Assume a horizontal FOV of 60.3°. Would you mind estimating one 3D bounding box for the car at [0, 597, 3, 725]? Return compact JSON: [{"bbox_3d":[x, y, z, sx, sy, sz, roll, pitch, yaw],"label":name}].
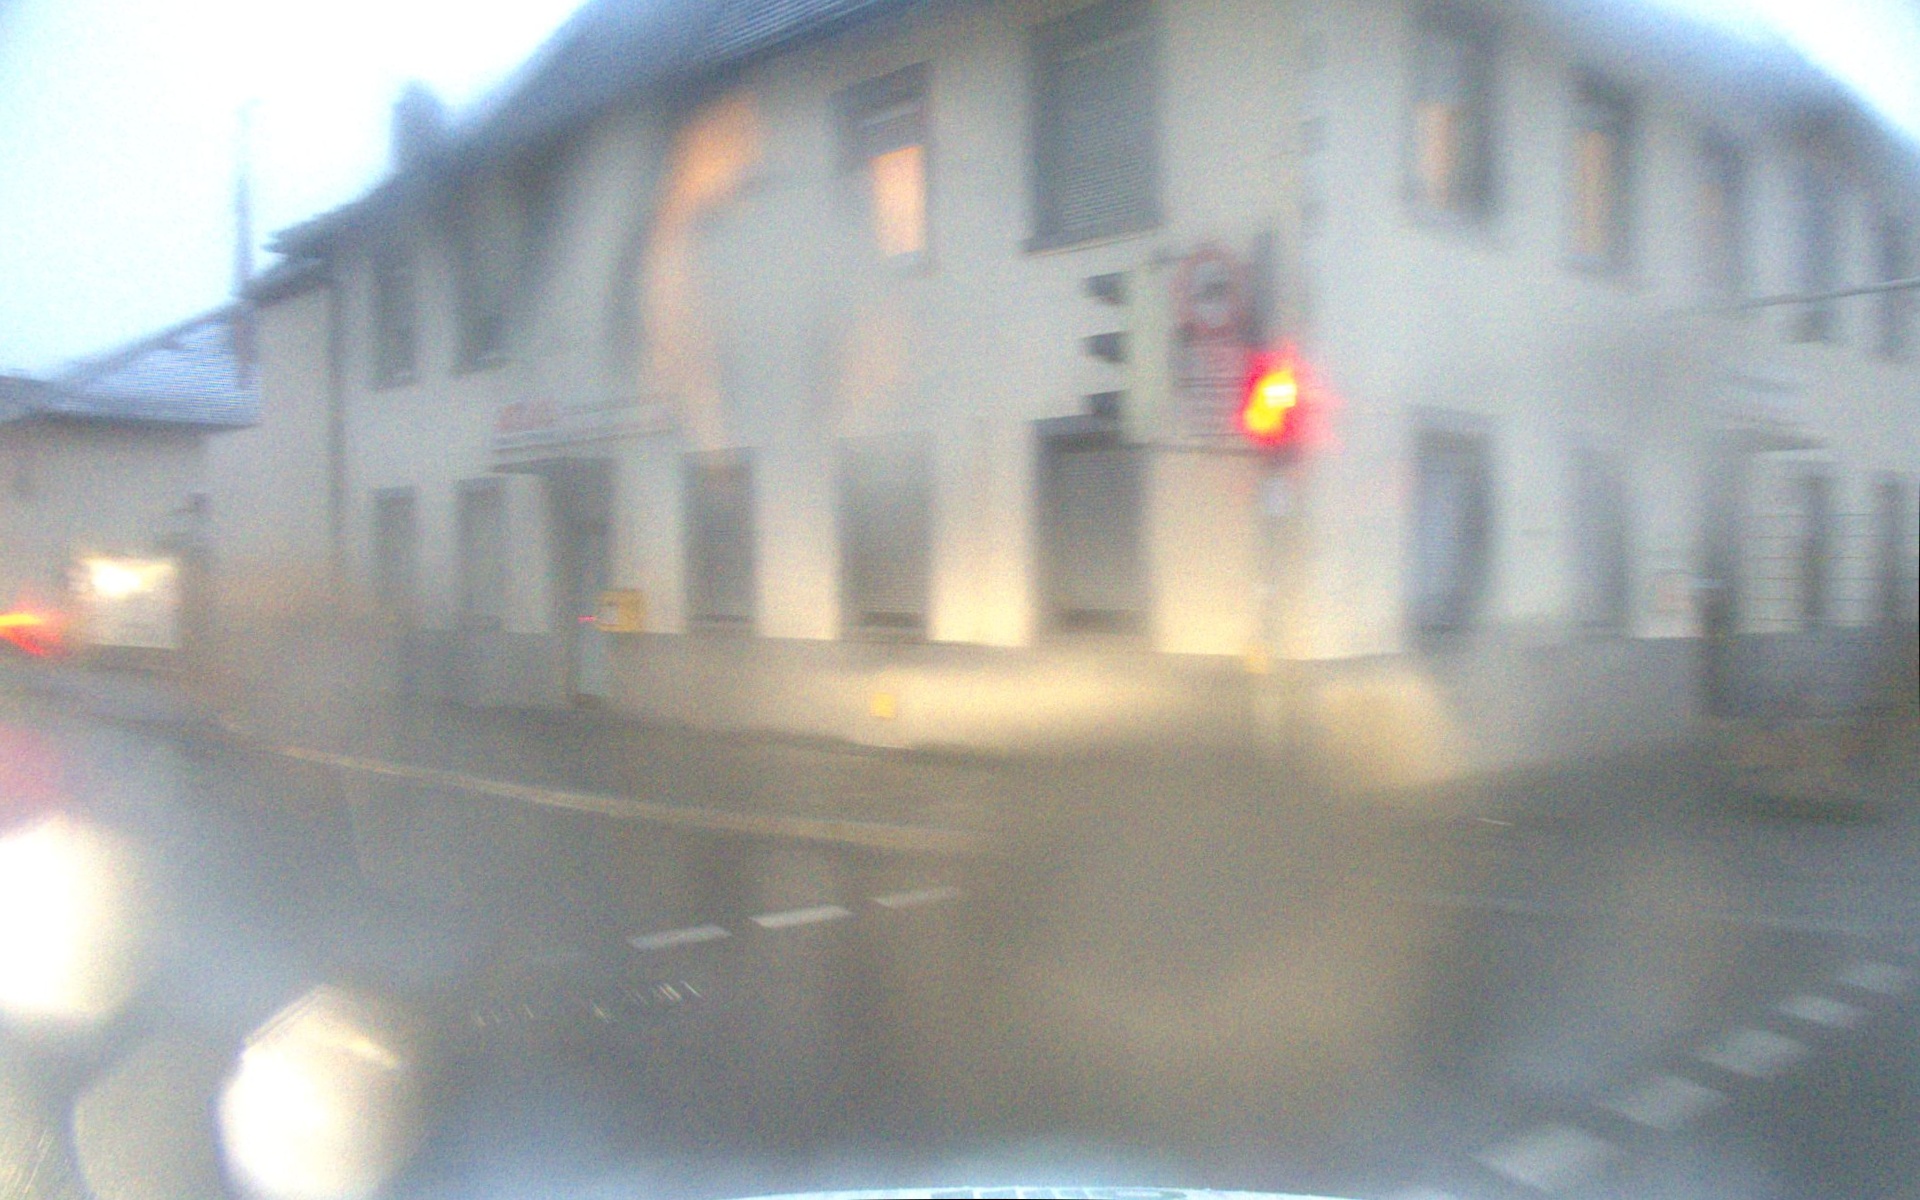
[{"bbox_3d":[-14.190,0.788,21.731,2.035,1.600,4.634,-1,0,-40],"label":"car"}]
